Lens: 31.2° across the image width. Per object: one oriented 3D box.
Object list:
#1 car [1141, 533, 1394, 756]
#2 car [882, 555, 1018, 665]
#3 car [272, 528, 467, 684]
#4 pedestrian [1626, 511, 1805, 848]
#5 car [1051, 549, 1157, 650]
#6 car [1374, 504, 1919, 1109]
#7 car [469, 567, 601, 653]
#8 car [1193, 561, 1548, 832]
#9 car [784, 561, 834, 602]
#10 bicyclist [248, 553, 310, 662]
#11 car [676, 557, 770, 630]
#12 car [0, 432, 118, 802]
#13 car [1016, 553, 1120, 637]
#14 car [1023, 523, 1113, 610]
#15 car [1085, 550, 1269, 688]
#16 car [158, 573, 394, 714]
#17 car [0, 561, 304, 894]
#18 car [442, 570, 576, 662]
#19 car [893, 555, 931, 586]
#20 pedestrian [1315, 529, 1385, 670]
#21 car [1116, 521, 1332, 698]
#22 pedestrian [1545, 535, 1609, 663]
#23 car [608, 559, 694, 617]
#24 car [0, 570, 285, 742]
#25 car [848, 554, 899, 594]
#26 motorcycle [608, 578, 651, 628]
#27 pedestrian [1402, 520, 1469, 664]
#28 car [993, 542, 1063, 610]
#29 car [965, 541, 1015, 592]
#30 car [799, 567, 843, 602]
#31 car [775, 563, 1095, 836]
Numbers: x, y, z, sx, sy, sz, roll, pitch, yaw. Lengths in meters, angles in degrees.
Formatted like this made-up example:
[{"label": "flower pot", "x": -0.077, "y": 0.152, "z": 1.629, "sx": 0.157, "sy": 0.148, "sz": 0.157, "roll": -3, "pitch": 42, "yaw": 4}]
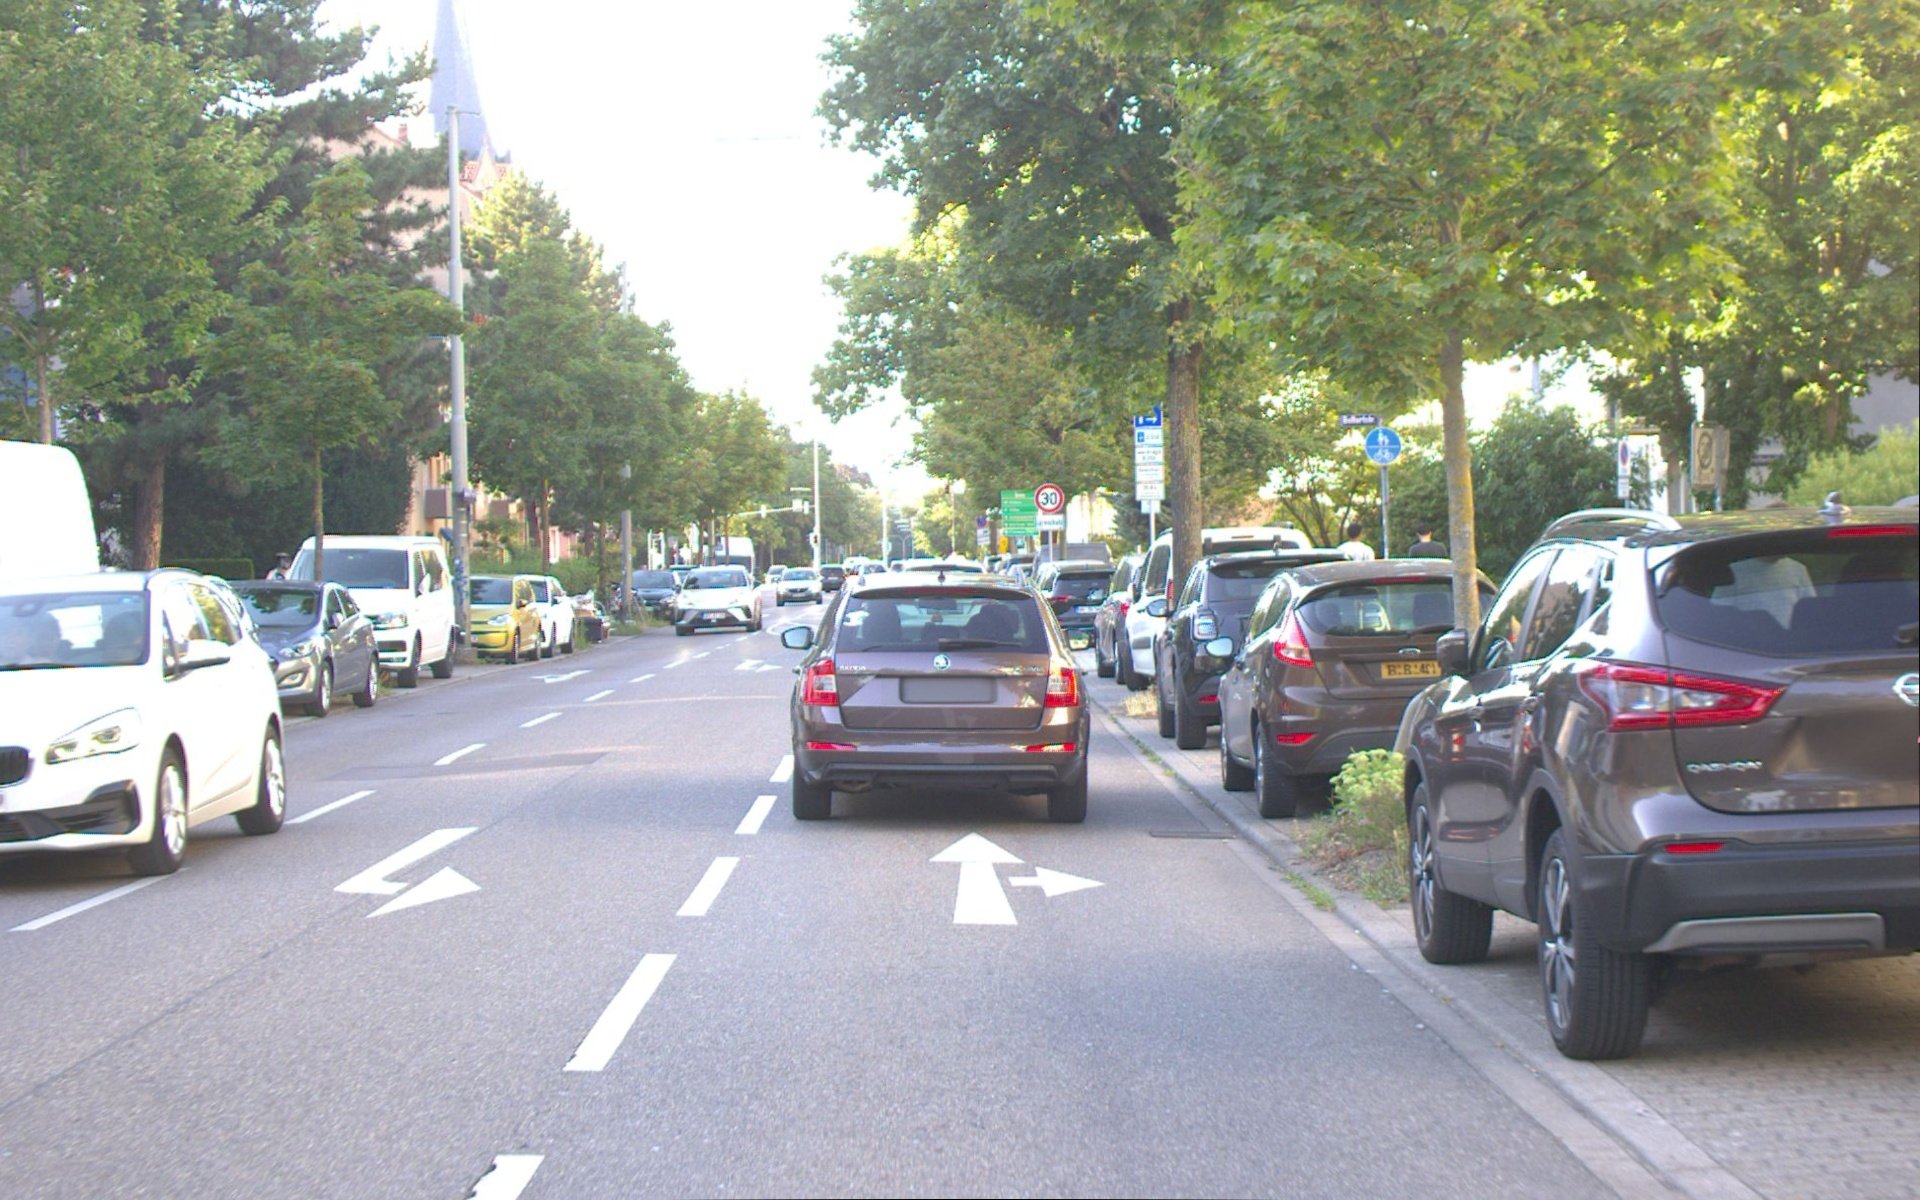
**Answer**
[{"label": "car", "x": 2.468, "y": 0.320, "z": 28.449, "sx": 1.754, "sy": 1.657, "sz": 4.252, "roll": -2, "pitch": 1, "yaw": 1}, {"label": "car", "x": -0.174, "y": 0.155, "z": 51.547, "sx": 1.892, "sy": 1.501, "sz": 3.790, "roll": 3, "pitch": -1, "yaw": -1}, {"label": "car", "x": -8.064, "y": 0.055, "z": 47.359, "sx": 1.868, "sy": 2.024, "sz": 5.301, "roll": 0, "pitch": 1, "yaw": -1}, {"label": "pedestrian", "x": 3.886, "y": 0.400, "z": 17.729, "sx": 0.788, "sy": 1.695, "sz": 0.807, "roll": 0, "pitch": 0, "yaw": 4}, {"label": "car", "x": 2.505, "y": -0.029, "z": 60.477, "sx": 1.754, "sy": 1.681, "sz": 4.252, "roll": 1, "pitch": 1, "yaw": 1}, {"label": "car", "x": 2.522, "y": 0.519, "z": 11.291, "sx": 1.718, "sy": 1.595, "sz": 4.096, "roll": -2, "pitch": 1, "yaw": -1}, {"label": "car", "x": -7.734, "y": 0.159, "z": 62.869, "sx": 1.781, "sy": 1.489, "sz": 3.971, "roll": 1, "pitch": 1, "yaw": 2}, {"label": "car", "x": 2.422, "y": 0.519, "z": 21.144, "sx": 1.613, "sy": 1.461, "sz": 3.959, "roll": -2, "pitch": 1, "yaw": -1}, {"label": "car", "x": -5.938, "y": -0.751, "z": 135.566, "sx": 1.739, "sy": 1.474, "sz": 4.310, "roll": -4, "pitch": 1, "yaw": -1}, {"label": "bicyclist", "x": -10.050, "y": 0.110, "z": 50.784, "sx": 0.603, "sy": 1.587, "sz": 0.939, "roll": -1, "pitch": 0, "yaw": 7}, {"label": "car", "x": -5.362, "y": -0.160, "z": 78.161, "sx": 1.781, "sy": 1.489, "sz": 3.971, "roll": -4, "pitch": 1, "yaw": 0}, {"label": "car", "x": -7.747, "y": 0.112, "z": 24.204, "sx": 1.993, "sy": 2.607, "sz": 7.106, "roll": 1, "pitch": 1, "yaw": -1}, {"label": "car", "x": 2.066, "y": -0.103, "z": 66.686, "sx": 1.754, "sy": 1.551, "sz": 4.104, "roll": 1, "pitch": 0, "yaw": -2}, {"label": "car", "x": 2.383, "y": -0.750, "z": 76.907, "sx": 1.916, "sy": 1.854, "sz": 5.633, "roll": -1, "pitch": 1, "yaw": 1}, {"label": "car", "x": 2.622, "y": 0.195, "z": 42.391, "sx": 1.754, "sy": 1.551, "sz": 4.253, "roll": -2, "pitch": 1, "yaw": -3}, {"label": "car", "x": -7.644, "y": 0.449, "z": 38.773, "sx": 1.692, "sy": 1.478, "sz": 4.143, "roll": -1, "pitch": 1, "yaw": 2}, {"label": "car", "x": -4.866, "y": 0.609, "z": 18.439, "sx": 1.879, "sy": 1.537, "sz": 4.267, "roll": -3, "pitch": 1, "yaw": -1}, {"label": "car", "x": -7.549, "y": 0.239, "z": 57.782, "sx": 1.619, "sy": 1.475, "sz": 3.871, "roll": 1, "pitch": 1, "yaw": 2}, {"label": "car", "x": -2.540, "y": -1.557, "z": 180.194, "sx": 1.644, "sy": 1.593, "sz": 3.651, "roll": -1, "pitch": 1, "yaw": -6}, {"label": "pedestrian", "x": 5.208, "y": -0.012, "z": 45.989, "sx": 0.749, "sy": 1.854, "sz": 1.068, "roll": -1, "pitch": 0, "yaw": -1}, {"label": "car", "x": 2.822, "y": 0.076, "z": 37.632, "sx": 1.800, "sy": 1.802, "sz": 4.424, "roll": 1, "pitch": 1, "yaw": -3}, {"label": "pedestrian", "x": 8.393, "y": -0.017, "z": 46.777, "sx": 0.799, "sy": 1.716, "sz": 0.744, "roll": -1, "pitch": 0, "yaw": 9}, {"label": "car", "x": -8.144, "y": -0.341, "z": 90.800, "sx": 1.781, "sy": 1.475, "sz": 4.033, "roll": 1, "pitch": 1, "yaw": 2}, {"label": "car", "x": -7.930, "y": 0.492, "z": 33.597, "sx": 1.672, "sy": 1.537, "sz": 4.473, "roll": -1, "pitch": 1, "yaw": 1}, {"label": "car", "x": -3.315, "y": -0.992, "z": 131.567, "sx": 1.780, "sy": 1.475, "sz": 3.971, "roll": 1, "pitch": 1, "yaw": -4}, {"label": "motorcycle", "x": -8.154, "y": 0.076, "z": 84.842, "sx": 0.740, "sy": 1.200, "sz": 2.141, "roll": 1, "pitch": 1, "yaw": 2}, {"label": "pedestrian", "x": 6.266, "y": -0.112, "z": 45.280, "sx": 0.799, "sy": 1.854, "sz": 0.950, "roll": -1, "pitch": 0, "yaw": 11}, {"label": "car", "x": 1.775, "y": -0.638, "z": 89.477, "sx": 1.754, "sy": 1.709, "sz": 4.000, "roll": 1, "pitch": 1, "yaw": 1}, {"label": "car", "x": 1.069, "y": -1.228, "z": 125.160, "sx": 1.754, "sy": 1.800, "sz": 4.000, "roll": 1, "pitch": 1, "yaw": 0}, {"label": "car", "x": -7.018, "y": -0.793, "z": 173.321, "sx": 1.993, "sy": 1.744, "sz": 4.001, "roll": -1, "pitch": 1, "yaw": -6}, {"label": "car", "x": -0.098, "y": 0.532, "z": 21.075, "sx": 1.754, "sy": 1.487, "sz": 4.000, "roll": 1, "pitch": 1, "yaw": 1}]
